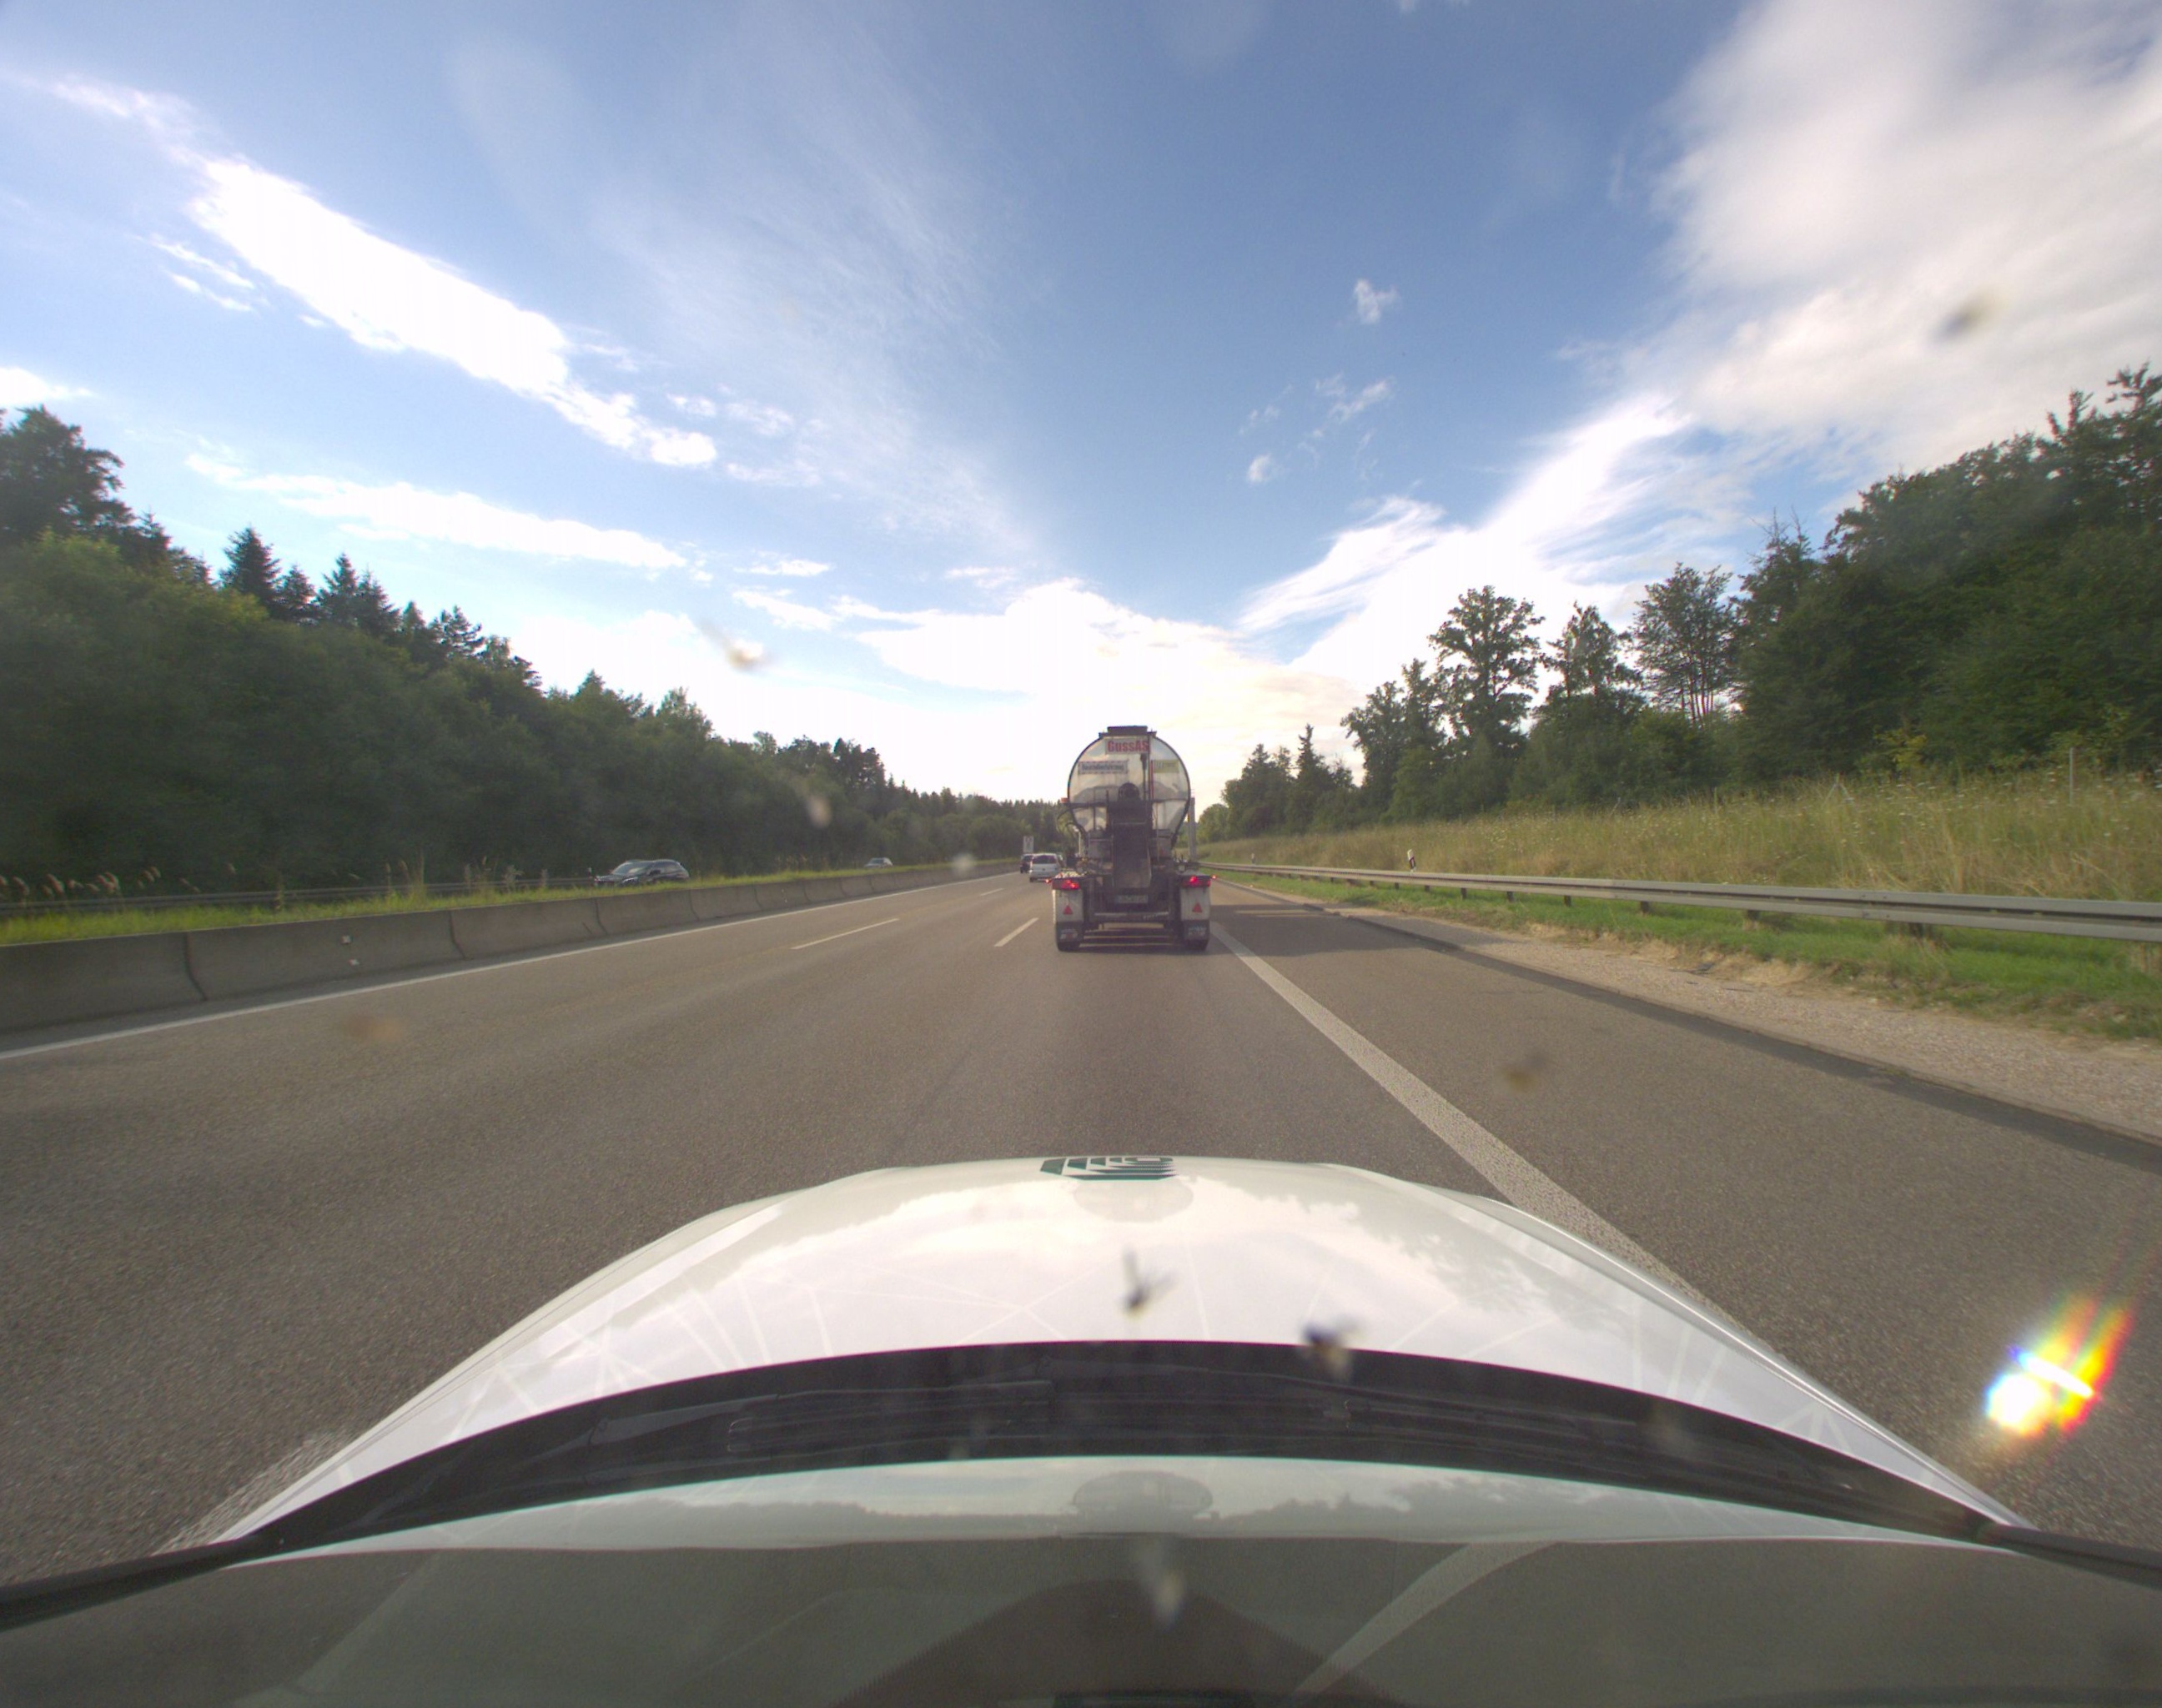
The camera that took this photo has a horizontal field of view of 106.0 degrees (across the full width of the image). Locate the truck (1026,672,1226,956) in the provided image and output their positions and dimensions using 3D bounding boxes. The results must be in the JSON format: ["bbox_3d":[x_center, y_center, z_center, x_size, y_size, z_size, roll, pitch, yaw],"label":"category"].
[{"bbox_3d":[0.977,-0.589,17.720,2.900,4.157,11.279,-1,0,3],"label":"truck"}]

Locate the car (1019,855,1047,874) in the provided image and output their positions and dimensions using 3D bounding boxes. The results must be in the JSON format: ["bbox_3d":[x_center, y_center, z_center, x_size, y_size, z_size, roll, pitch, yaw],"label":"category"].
[{"bbox_3d":[-4.031,0.821,68.559,1.828,1.517,4.336,-1,0,3],"label":"car"}]

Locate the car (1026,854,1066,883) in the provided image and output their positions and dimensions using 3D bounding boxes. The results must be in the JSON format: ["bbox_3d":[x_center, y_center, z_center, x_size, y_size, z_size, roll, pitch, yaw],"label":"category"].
[{"bbox_3d":[-1.951,0.789,46.724,1.828,1.517,4.336,-1,0,3],"label":"car"}]

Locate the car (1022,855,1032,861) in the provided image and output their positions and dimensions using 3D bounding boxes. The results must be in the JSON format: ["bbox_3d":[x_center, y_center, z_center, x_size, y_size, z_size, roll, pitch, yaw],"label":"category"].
[{"bbox_3d":[-11.970,0.981,180.655,1.809,1.290,3.547,-1,0,3],"label":"car"}]

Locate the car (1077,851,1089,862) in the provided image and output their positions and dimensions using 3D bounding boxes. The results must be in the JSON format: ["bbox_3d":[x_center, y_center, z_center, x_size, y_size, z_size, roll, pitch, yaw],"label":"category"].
[{"bbox_3d":[0.404,0.345,136.429,1.839,1.783,4.002,-1,0,2],"label":"car"}]

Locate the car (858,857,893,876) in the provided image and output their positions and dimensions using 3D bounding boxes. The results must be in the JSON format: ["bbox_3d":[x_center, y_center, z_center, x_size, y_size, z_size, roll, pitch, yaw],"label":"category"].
[{"bbox_3d":[-19.014,1.122,75.426,1.872,1.628,4.572,-1,0,2],"label":"car"}]

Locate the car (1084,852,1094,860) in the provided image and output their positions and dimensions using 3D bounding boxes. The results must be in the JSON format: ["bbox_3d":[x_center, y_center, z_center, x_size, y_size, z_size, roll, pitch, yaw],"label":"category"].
[{"bbox_3d":[1.649,0.356,165.983,1.799,1.586,4.209,-1,0,2],"label":"car"}]

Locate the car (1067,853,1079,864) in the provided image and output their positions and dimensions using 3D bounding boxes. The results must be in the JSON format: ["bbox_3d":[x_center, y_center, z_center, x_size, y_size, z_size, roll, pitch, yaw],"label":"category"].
[{"bbox_3d":[-1.113,0.612,116.543,1.612,1.544,3.522,0,0,2],"label":"car"}]

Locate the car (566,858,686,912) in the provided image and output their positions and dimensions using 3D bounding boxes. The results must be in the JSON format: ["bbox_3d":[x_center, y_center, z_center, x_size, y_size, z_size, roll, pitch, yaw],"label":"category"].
[{"bbox_3d":[-17.434,1.140,31.500,1.986,1.881,4.440,-1,0,2],"label":"car"}]
